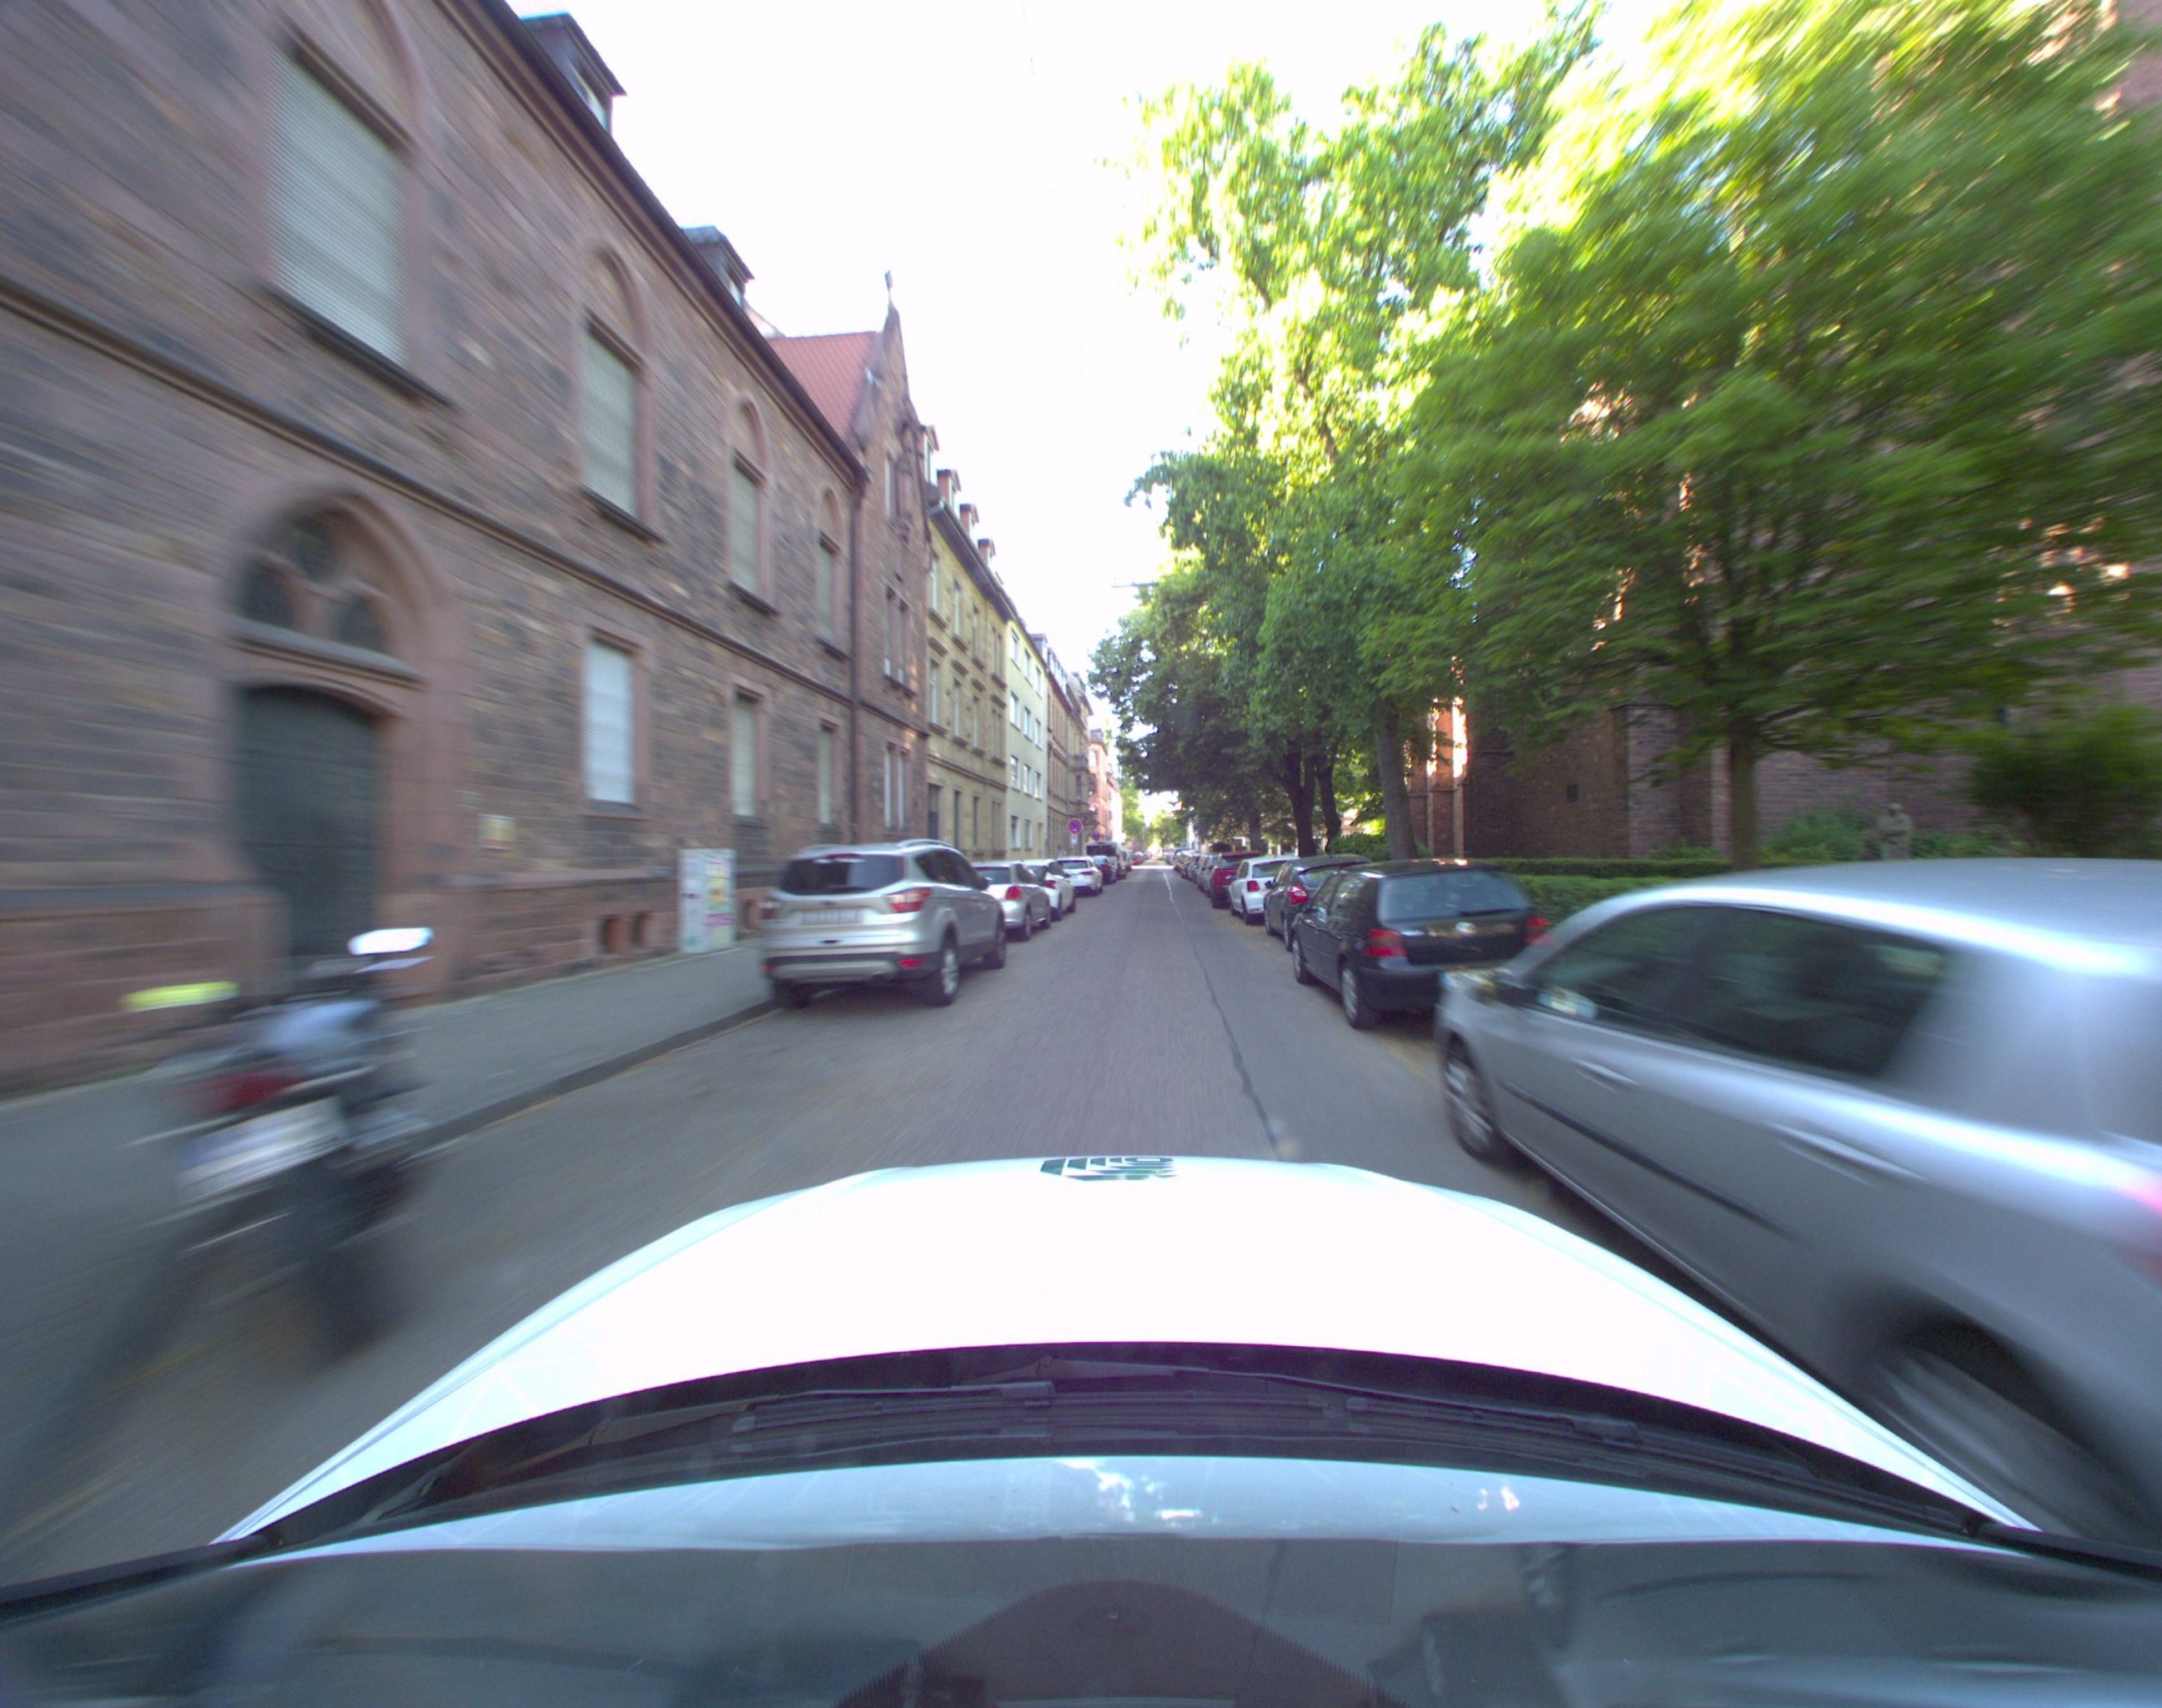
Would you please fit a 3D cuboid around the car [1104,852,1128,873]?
[{"bbox_3d":[2.741,0.627,63.528,1.686,1.514,3.975,-3,0,2],"label":"car"}]

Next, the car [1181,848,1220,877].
[{"bbox_3d":[6.826,0.507,46.974,1.668,1.441,4.699,-6,-1,3],"label":"car"}]

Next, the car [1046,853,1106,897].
[{"bbox_3d":[-0.108,0.734,30.385,1.722,1.456,4.528,-3,0,5],"label":"car"}]

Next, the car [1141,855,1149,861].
[{"bbox_3d":[15.045,0.934,191.038,1.668,1.487,4.100,-3,0,5],"label":"car"}]

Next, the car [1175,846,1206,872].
[{"bbox_3d":[7.785,0.394,58.190,1.613,1.624,3.864,-5,-1,1],"label":"car"}]

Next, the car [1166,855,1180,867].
[{"bbox_3d":[12.569,0.920,111.763,1.668,1.507,3.942,-3,0,5],"label":"car"}]

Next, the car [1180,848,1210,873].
[{"bbox_3d":[7.511,0.437,53.846,1.611,1.486,3.781,-6,-1,5],"label":"car"}]

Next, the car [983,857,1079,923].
[{"bbox_3d":[-1.145,0.839,20.289,1.700,1.417,3.809,-3,-1,6],"label":"car"}]

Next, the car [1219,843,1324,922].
[{"bbox_3d":[4.391,0.646,19.343,1.657,1.520,3.955,-6,-1,3],"label":"car"}]

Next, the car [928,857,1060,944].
[{"bbox_3d":[-1.552,0.829,15.886,1.700,1.417,3.809,-3,-1,6],"label":"car"}]

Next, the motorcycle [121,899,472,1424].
[{"bbox_3d":[-2.884,0.831,3.164,0.705,1.251,2.299,0,-1,-40],"label":"motorcycle"}]

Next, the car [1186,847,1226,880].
[{"bbox_3d":[6.490,0.517,42.642,1.592,1.505,3.631,-5,-1,3],"label":"car"}]

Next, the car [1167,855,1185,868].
[{"bbox_3d":[11.252,0.895,96.816,1.737,1.507,4.360,-3,0,3],"label":"car"}]

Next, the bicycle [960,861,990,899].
[{"bbox_3d":[-3.456,0.835,26.690,0.568,1.148,1.847,2,0,4],"label":"bicycle"}]

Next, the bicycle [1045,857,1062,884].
[{"bbox_3d":[-1.331,0.774,39.628,0.568,1.244,1.847,2,0,4],"label":"bicycle"}]

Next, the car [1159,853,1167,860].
[{"bbox_3d":[18.847,0.504,186.896,1.668,1.487,3.642,-3,0,5],"label":"car"}]

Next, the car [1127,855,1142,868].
[{"bbox_3d":[6.384,0.869,97.433,1.620,1.481,3.605,-3,0,5],"label":"car"}]

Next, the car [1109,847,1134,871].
[{"bbox_3d":[3.404,0.410,68.401,1.822,1.811,4.578,-3,0,5],"label":"car"}]

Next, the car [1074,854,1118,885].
[{"bbox_3d":[0.828,0.740,41.170,1.722,1.402,4.323,-3,0,7],"label":"car"}]

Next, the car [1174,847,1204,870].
[{"bbox_3d":[8.455,0.414,64.066,1.733,1.603,4.265,-5,-1,1],"label":"car"}]

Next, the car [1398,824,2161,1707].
[{"bbox_3d":[2.662,0.704,2.962,1.701,1.520,3.835,-2,-1,4],"label":"car"}]

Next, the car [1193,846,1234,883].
[{"bbox_3d":[6.152,0.491,38.096,1.591,1.468,3.569,-6,-1,6],"label":"car"}]

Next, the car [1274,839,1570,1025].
[{"bbox_3d":[3.199,0.655,8.541,1.614,1.436,4.007,-2,-1,4],"label":"car"}]

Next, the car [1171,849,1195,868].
[{"bbox_3d":[8.595,0.398,68.949,1.711,1.571,3.832,-1,0,4],"label":"car"}]

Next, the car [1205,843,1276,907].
[{"bbox_3d":[4.649,0.601,24.194,1.655,1.586,4.108,-6,-1,7],"label":"car"}]

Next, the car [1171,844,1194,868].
[{"bbox_3d":[9.264,0.153,74.448,1.904,1.998,4.801,-3,0,7],"label":"car"}]

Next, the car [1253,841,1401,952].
[{"bbox_3d":[4.140,0.671,14.347,1.656,1.520,4.067,-6,-1,6],"label":"car"}]

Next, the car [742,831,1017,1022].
[{"bbox_3d":[-2.031,0.701,9.612,1.700,1.674,4.285,-3,-1,6],"label":"car"}]

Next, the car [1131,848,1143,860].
[{"bbox_3d":[9.032,0.049,131.661,1.757,1.785,4.044,-3,0,4],"label":"car"}]

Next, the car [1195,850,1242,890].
[{"bbox_3d":[5.617,0.650,33.626,1.591,1.470,3.875,-3,-1,6],"label":"car"}]

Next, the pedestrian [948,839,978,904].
[{"bbox_3d":[-3.512,0.520,24.348,0.763,1.928,0.764,0,0,1],"label":"pedestrian"}]

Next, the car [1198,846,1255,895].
[{"bbox_3d":[5.173,0.573,29.338,1.591,1.505,3.726,-6,-1,6],"label":"car"}]

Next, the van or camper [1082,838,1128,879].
[{"bbox_3d":[1.480,0.268,47.542,2.165,2.148,5.164,-3,0,7],"label":"van or camper"}]

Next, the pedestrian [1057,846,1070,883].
[{"bbox_3d":[-0.827,0.503,39.556,0.486,1.803,1.116,2,0,4],"label":"pedestrian"}]
